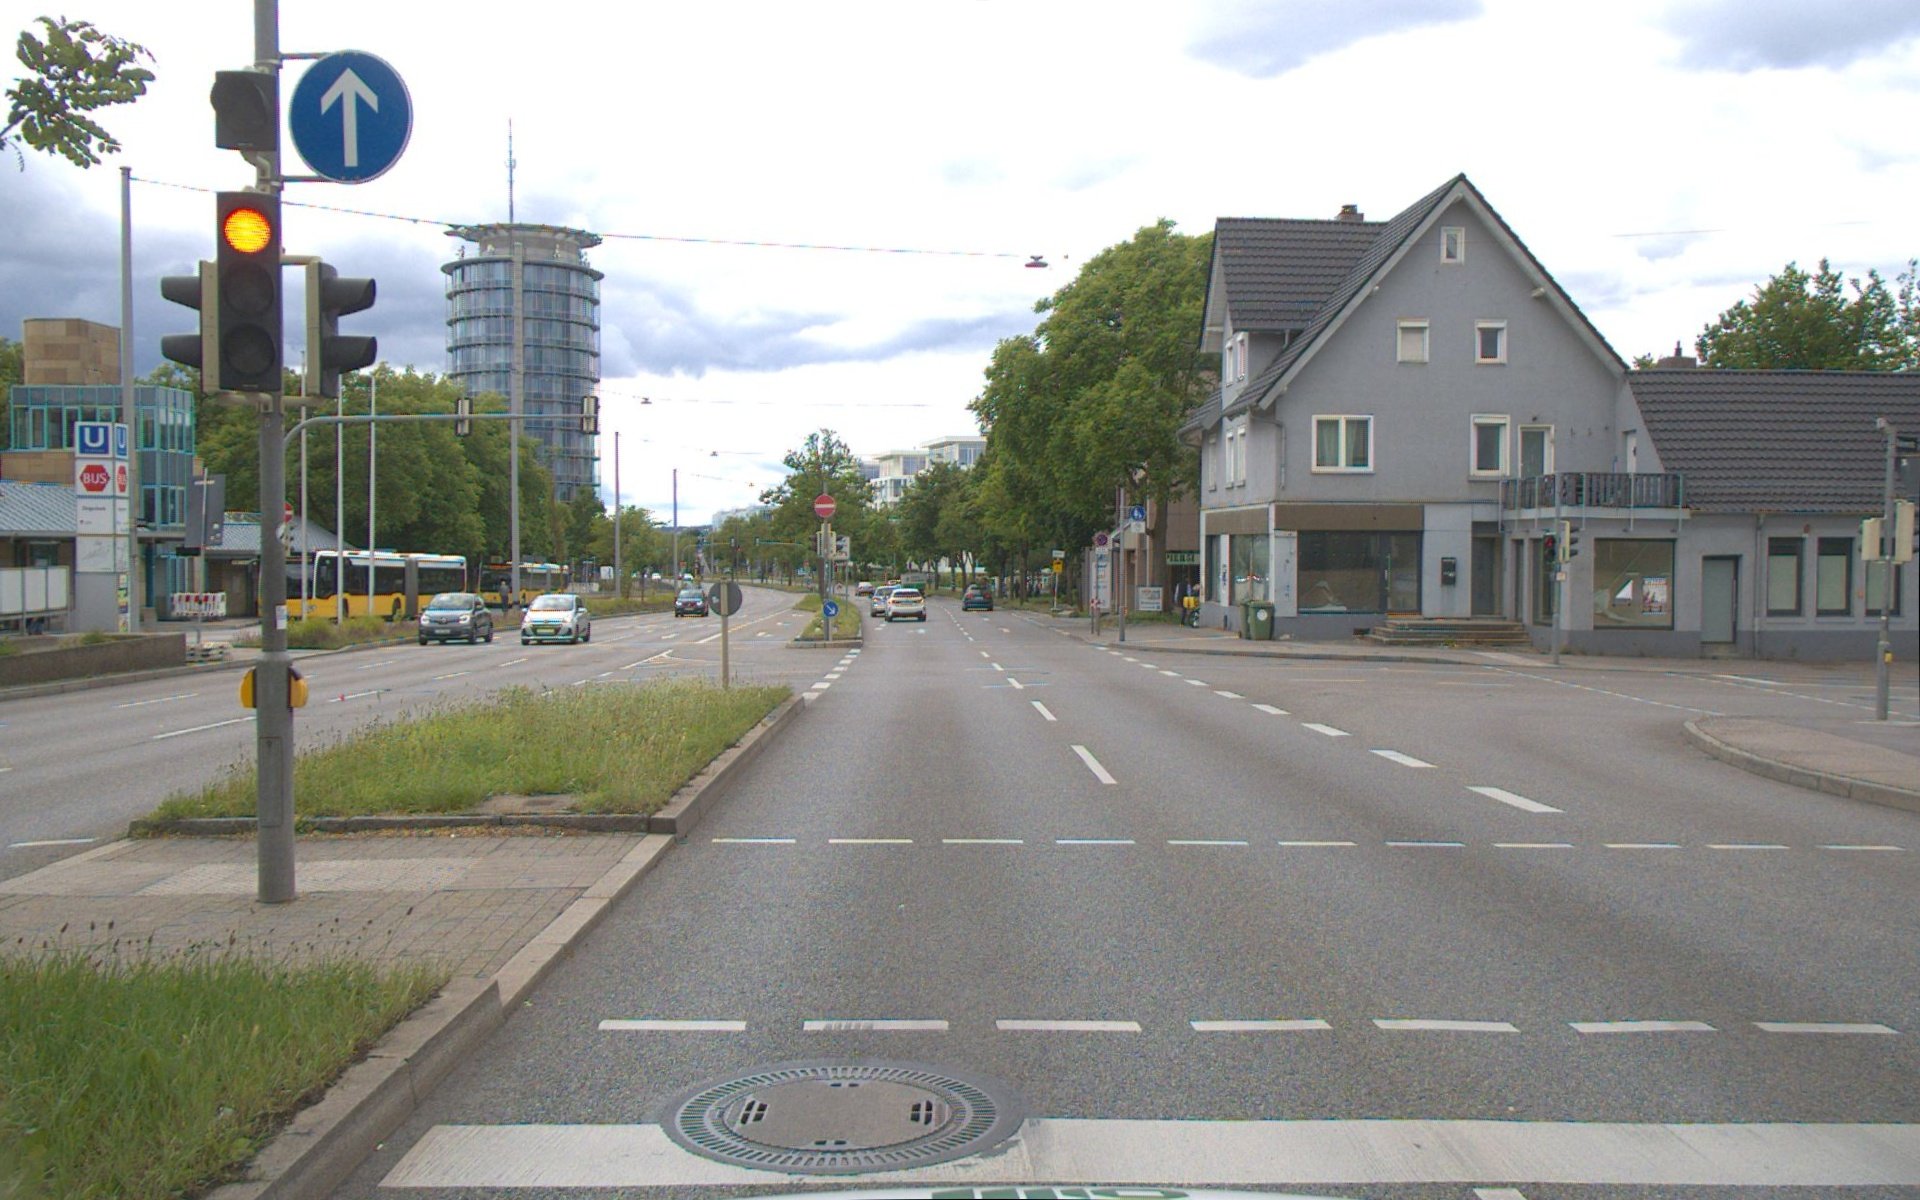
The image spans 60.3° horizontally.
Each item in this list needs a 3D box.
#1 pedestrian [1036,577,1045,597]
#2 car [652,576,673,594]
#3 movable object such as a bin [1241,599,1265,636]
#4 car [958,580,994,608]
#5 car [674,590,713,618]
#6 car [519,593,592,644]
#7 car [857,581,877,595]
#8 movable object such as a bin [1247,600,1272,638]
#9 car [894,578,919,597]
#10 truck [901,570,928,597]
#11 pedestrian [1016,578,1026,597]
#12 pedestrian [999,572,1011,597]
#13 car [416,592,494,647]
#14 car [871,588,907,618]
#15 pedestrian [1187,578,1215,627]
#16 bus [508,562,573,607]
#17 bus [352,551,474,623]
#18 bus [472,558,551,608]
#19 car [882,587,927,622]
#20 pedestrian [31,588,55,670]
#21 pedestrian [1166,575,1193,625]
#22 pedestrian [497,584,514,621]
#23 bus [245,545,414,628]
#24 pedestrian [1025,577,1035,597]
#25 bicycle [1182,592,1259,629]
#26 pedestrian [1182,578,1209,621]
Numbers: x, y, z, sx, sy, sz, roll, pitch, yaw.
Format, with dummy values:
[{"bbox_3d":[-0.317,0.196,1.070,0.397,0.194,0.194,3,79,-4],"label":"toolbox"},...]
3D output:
[{"bbox_3d":[6.533,-1.049,133.838,0.638,1.597,0.669,0,0,-9],"label":"pedestrian"},{"bbox_3d":[-35.901,-1.831,199.740,1.925,2.049,3.999,1,0,-1],"label":"car"},{"bbox_3d":[7.965,0.475,44.947,0.518,0.997,0.736,0,0,-1],"label":"movable object such as a bin"},{"bbox_3d":[0.928,-0.332,97.391,1.851,1.521,4.096,-2,-1,-3],"label":"car"},{"bbox_3d":[-14.944,0.226,92.893,1.668,1.518,3.561,-1,0,-2],"label":"car"},{"bbox_3d":[-12.367,0.550,50.722,1.651,1.488,3.552,0,0,-5],"label":"car"},{"bbox_3d":[-9.716,-1.262,173.019,1.929,1.444,4.017,0,0,-6],"label":"car"},{"bbox_3d":[7.995,0.496,44.157,0.518,0.997,0.736,0,0,-1],"label":"movable object such as a bin"},{"bbox_3d":[-5.398,-1.245,164.999,2.207,1.787,4.927,0,0,-5],"label":"car"},{"bbox_3d":[-4.345,-1.537,156.422,2.207,2.459,4.927,0,0,-5],"label":"truck"},{"bbox_3d":[4.955,-1.018,134.003,0.638,1.597,0.669,0,0,-9],"label":"pedestrian"},{"bbox_3d":[3.838,-1.329,140.221,0.951,2.049,0.981,1,-1,-2],"label":"pedestrian"},{"bbox_3d":[-15.476,0.565,50.810,1.652,1.606,3.344,0,0,-6],"label":"car"},{"bbox_3d":[-3.765,0.146,87.213,1.786,1.567,4.111,-1,0,-4],"label":"car"},{"bbox_3d":[9.102,0.086,62.527,0.853,1.811,0.705,0,0,-14],"label":"pedestrian"},{"bbox_3d":[-31.145,-1.133,123.008,3.081,3.281,7.762,0,0,-2],"label":"bus"},{"bbox_3d":[-26.546,-0.613,80.715,2.927,3.327,7.879,-1,0,3],"label":"bus"},{"bbox_3d":[-30.784,-1.118,114.009,3.082,3.281,10.279,0,0,-3],"label":"bus"},{"bbox_3d":[-2.520,0.193,75.954,1.953,1.503,4.255,-1,0,-1],"label":"car"},{"bbox_3d":[-18.380,0.580,33.156,0.414,1.619,0.353,0,0,-30],"label":"pedestrian"},{"bbox_3d":[8.013,0.000,60.400,0.692,1.811,0.869,-1,0,28],"label":"pedestrian"},{"bbox_3d":[-24.166,0.131,87.911,0.656,1.930,0.676,0,0,-38],"label":"pedestrian"},{"bbox_3d":[-27.084,-0.560,71.690,2.927,3.307,10.174,-1,0,3],"label":"bus"},{"bbox_3d":[5.670,-1.031,134.015,0.638,1.597,0.669,0,0,-9],"label":"pedestrian"},{"bbox_3d":[8.942,0.364,56.842,2.387,1.239,1.075,0,0,33],"label":"bicycle"},{"bbox_3d":[8.518,-0.020,59.766,0.692,1.533,0.868,-1,0,31],"label":"pedestrian"}]
